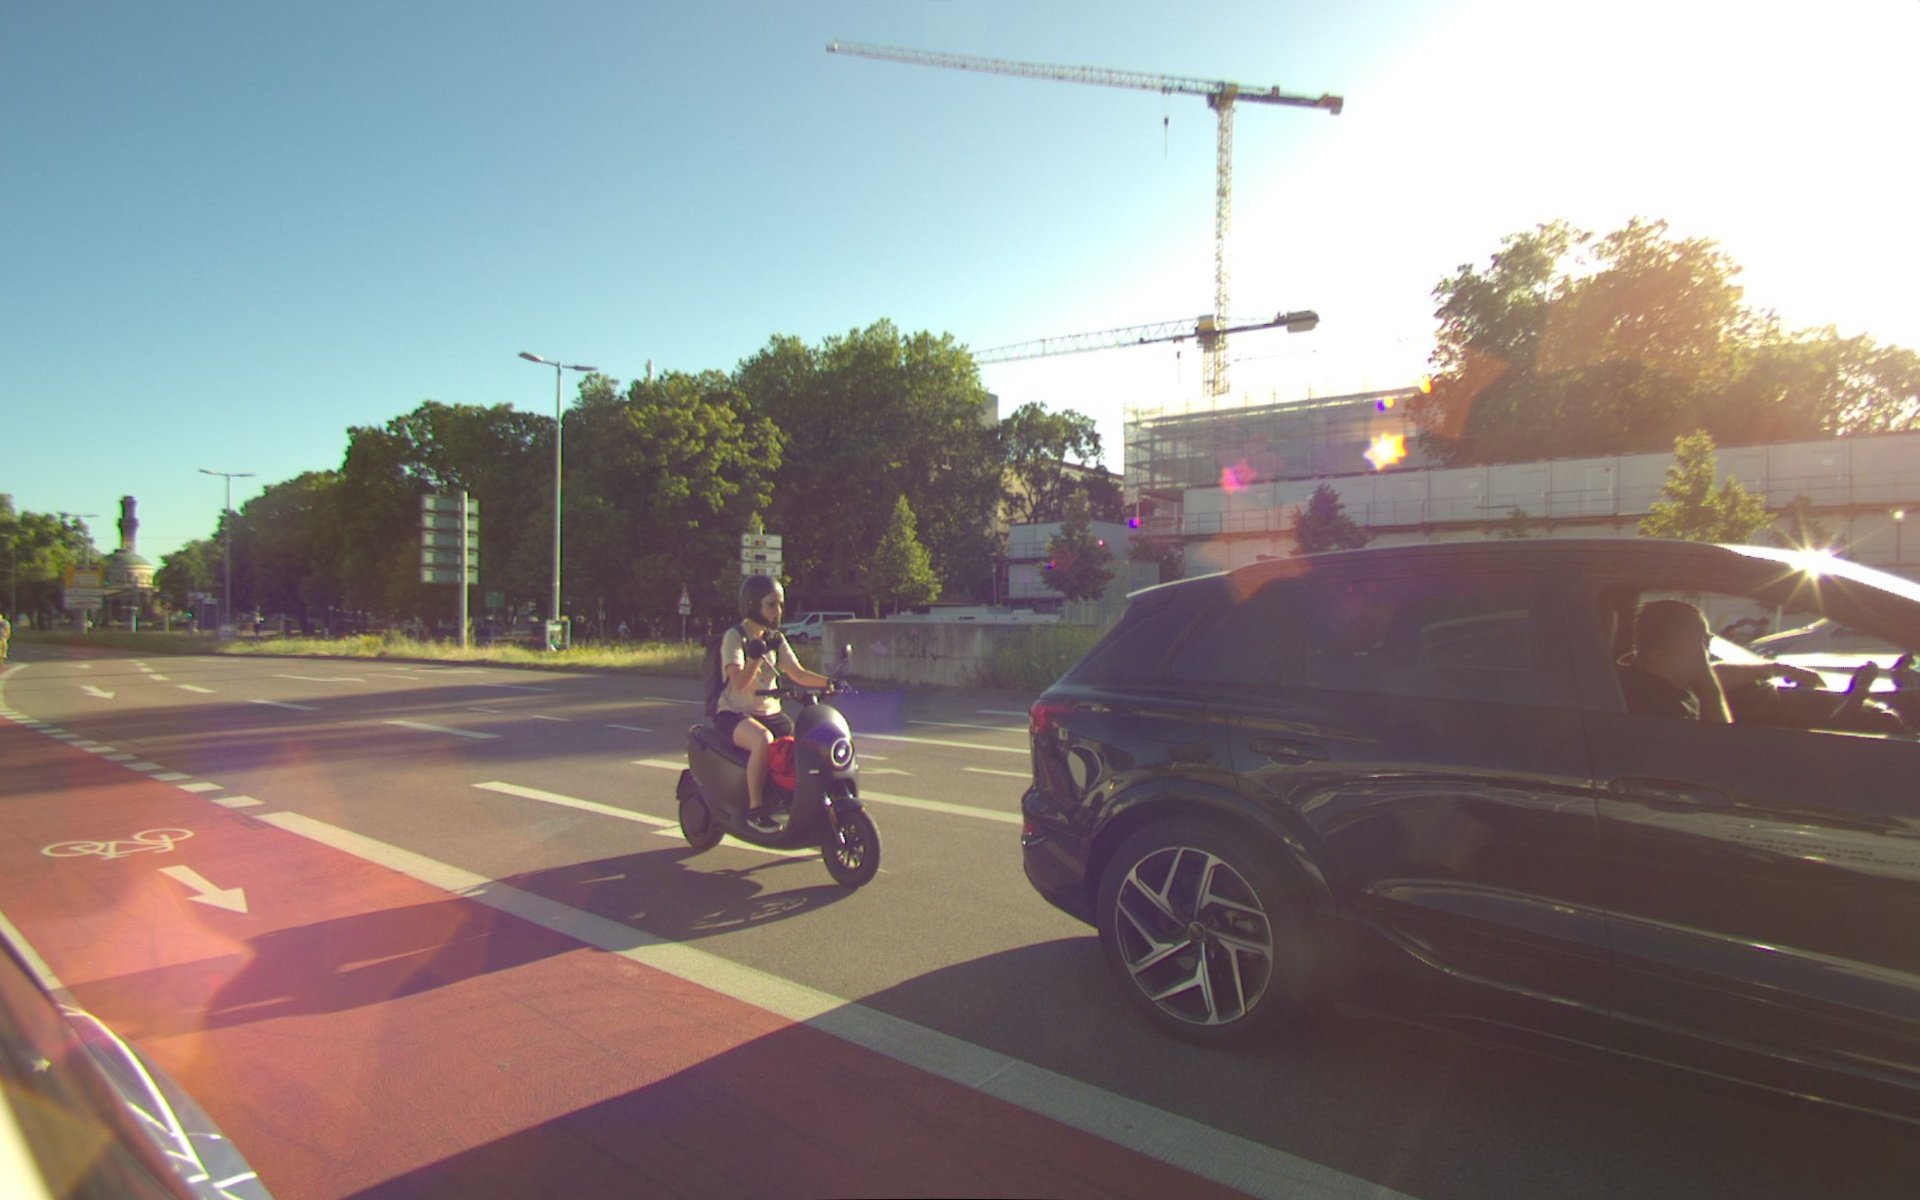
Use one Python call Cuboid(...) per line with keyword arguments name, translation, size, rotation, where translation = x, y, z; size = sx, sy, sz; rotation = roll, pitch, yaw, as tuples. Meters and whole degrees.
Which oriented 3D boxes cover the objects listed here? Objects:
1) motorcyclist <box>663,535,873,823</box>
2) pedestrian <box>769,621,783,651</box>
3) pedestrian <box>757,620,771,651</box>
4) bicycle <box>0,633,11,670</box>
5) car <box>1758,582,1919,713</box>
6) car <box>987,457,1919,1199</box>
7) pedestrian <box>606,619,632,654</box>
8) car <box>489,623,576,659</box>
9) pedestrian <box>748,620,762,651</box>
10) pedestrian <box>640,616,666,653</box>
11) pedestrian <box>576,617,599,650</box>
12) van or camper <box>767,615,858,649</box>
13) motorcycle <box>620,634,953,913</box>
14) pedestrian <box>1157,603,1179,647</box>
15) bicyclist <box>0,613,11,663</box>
Cuboid(name="motorcyclist", translation=(-1.094, 0.418, 5.783), size=(0.877, 1.475, 0.813), rotation=(-1, -2, 41))
Cuboid(name="pedestrian", translation=(-9.376, 1.832, 51.657), size=(0.494, 1.522, 0.492), rotation=(-1, -2, 41))
Cuboid(name="pedestrian", translation=(-9.856, 1.777, 50.866), size=(0.494, 1.522, 0.492), rotation=(-1, -2, 41))
Cuboid(name="bicycle", translation=(-32.379, 1.711, 33.912), size=(1.505, 1.201, 0.680), rotation=(-1, -2, 41))
Cuboid(name="car", translation=(15.267, 0.704, 15.283), size=(4.920, 1.937, 1.865), rotation=(-1, -2, 36))
Cuboid(name="car", translation=(2.575, 0.551, 3.175), size=(4.661, 1.720, 2.144), rotation=(-1, -1, 40))
Cuboid(name="pedestrian", translation=(-19.826, 2.111, 58.894), size=(1.054, 1.978, 0.942), rotation=(-1, 0, 26))
Cuboid(name="car", translation=(-18.292, 1.717, 43.248), size=(3.979, 1.492, 1.857), rotation=(-1, -2, 41))
Cuboid(name="pedestrian", translation=(-10.191, 1.765, 50.275), size=(0.494, 1.522, 0.492), rotation=(-1, -2, 41))
Cuboid(name="pedestrian", translation=(-17.173, 1.919, 56.599), size=(0.815, 1.978, 1.111), rotation=(-1, 0, 41))
Cuboid(name="pedestrian", translation=(-22.621, 2.030, 61.449), size=(0.948, 2.029, 0.836), rotation=(-1, 0, 15))
Cuboid(name="van or camper", translation=(-8.961, 1.932, 61.892), size=(1.951, 1.960, 5.425), rotation=(-2, -2, 44))
Cuboid(name="motorcycle", translation=(-1.030, 0.845, 5.711), size=(1.943, 1.290, 0.817), rotation=(-1, -2, 41))
Cuboid(name="pedestrian", translation=(7.789, 0.916, 37.874), size=(0.597, 1.614, 0.580), rotation=(-1, 0, 38))
Cuboid(name="bicyclist", translation=(-32.320, 1.275, 33.888), size=(0.877, 1.671, 0.666), rotation=(-1, -2, 41))
